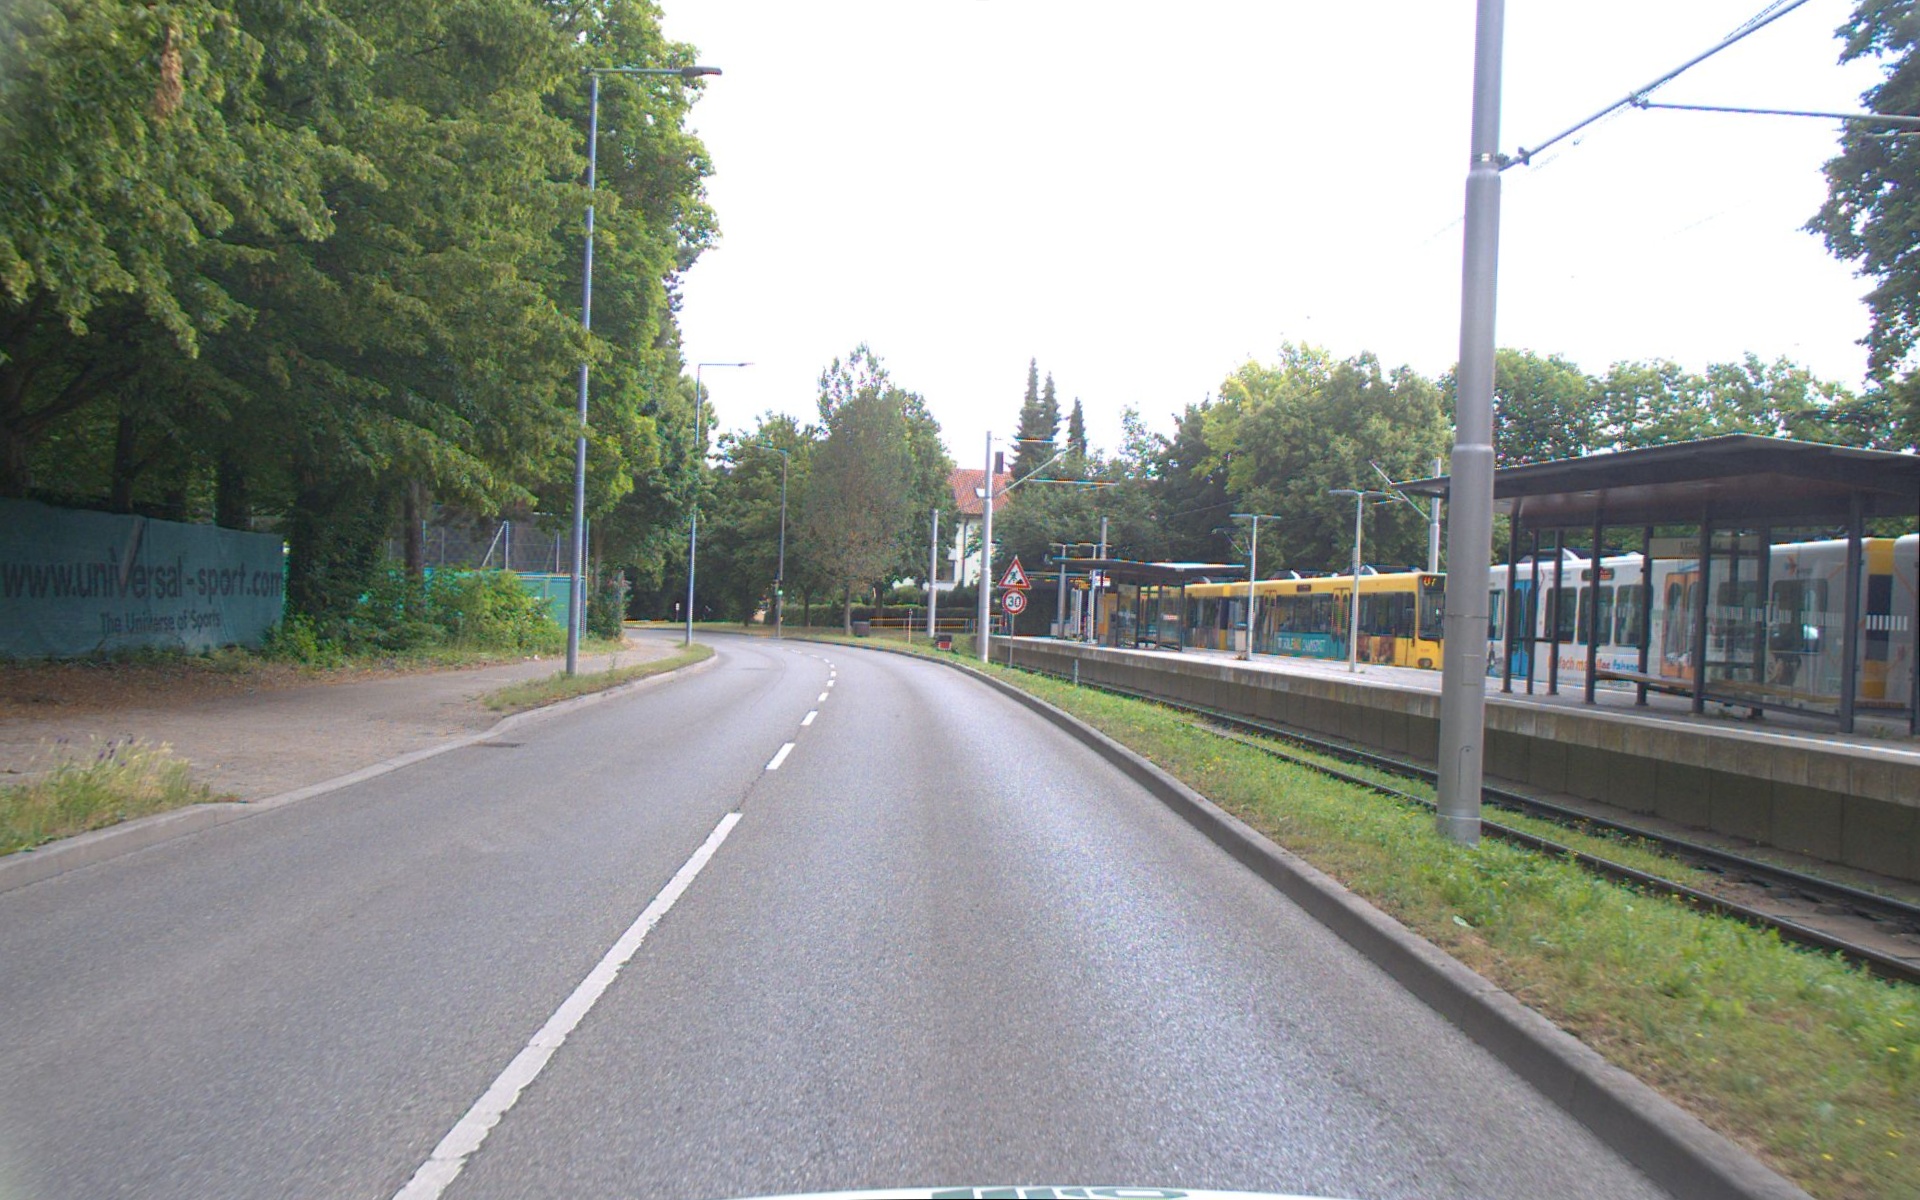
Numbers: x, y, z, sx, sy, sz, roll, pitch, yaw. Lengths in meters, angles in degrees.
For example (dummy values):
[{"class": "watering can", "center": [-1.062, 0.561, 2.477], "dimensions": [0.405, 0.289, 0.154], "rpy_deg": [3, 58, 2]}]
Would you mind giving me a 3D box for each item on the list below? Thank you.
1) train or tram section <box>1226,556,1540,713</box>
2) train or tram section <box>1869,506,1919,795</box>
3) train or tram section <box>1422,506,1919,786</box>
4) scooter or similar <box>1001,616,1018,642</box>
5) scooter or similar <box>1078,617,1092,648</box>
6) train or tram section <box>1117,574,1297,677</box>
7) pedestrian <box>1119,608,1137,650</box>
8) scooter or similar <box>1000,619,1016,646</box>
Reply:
[{"class": "train or tram section", "center": [12.187, 0.934, 51.205], "dimensions": [2.759, 3.802, 19.488], "rpy_deg": [3, -1, -6]}, {"class": "train or tram section", "center": [13.867, 0.617, 13.637], "dimensions": [2.755, 3.802, 18.532], "rpy_deg": [3, -1, 1]}, {"class": "train or tram section", "center": [13.629, 0.782, 32.528], "dimensions": [2.757, 3.865, 18.921], "rpy_deg": [3, -1, -3]}, {"class": "scooter or similar", "center": [2.451, 1.444, 81.503], "dimensions": [0.423, 1.275, 1.248], "rpy_deg": [1, -3, -19]}, {"class": "scooter or similar", "center": [5.241, 1.372, 69.407], "dimensions": [0.361, 1.264, 1.144], "rpy_deg": [2, -1, -7]}, {"class": "train or tram section", "center": [10.045, 1.008, 70.694], "dimensions": [2.759, 3.651, 19.488], "rpy_deg": [3, -1, -6]}, {"class": "pedestrian", "center": [6.458, 1.126, 63.718], "dimensions": [0.609, 1.600, 0.665], "rpy_deg": [1, -2, 11]}, {"class": "scooter or similar", "center": [2.275, 1.573, 79.123], "dimensions": [0.423, 1.275, 1.249], "rpy_deg": [1, -3, -15]}]
